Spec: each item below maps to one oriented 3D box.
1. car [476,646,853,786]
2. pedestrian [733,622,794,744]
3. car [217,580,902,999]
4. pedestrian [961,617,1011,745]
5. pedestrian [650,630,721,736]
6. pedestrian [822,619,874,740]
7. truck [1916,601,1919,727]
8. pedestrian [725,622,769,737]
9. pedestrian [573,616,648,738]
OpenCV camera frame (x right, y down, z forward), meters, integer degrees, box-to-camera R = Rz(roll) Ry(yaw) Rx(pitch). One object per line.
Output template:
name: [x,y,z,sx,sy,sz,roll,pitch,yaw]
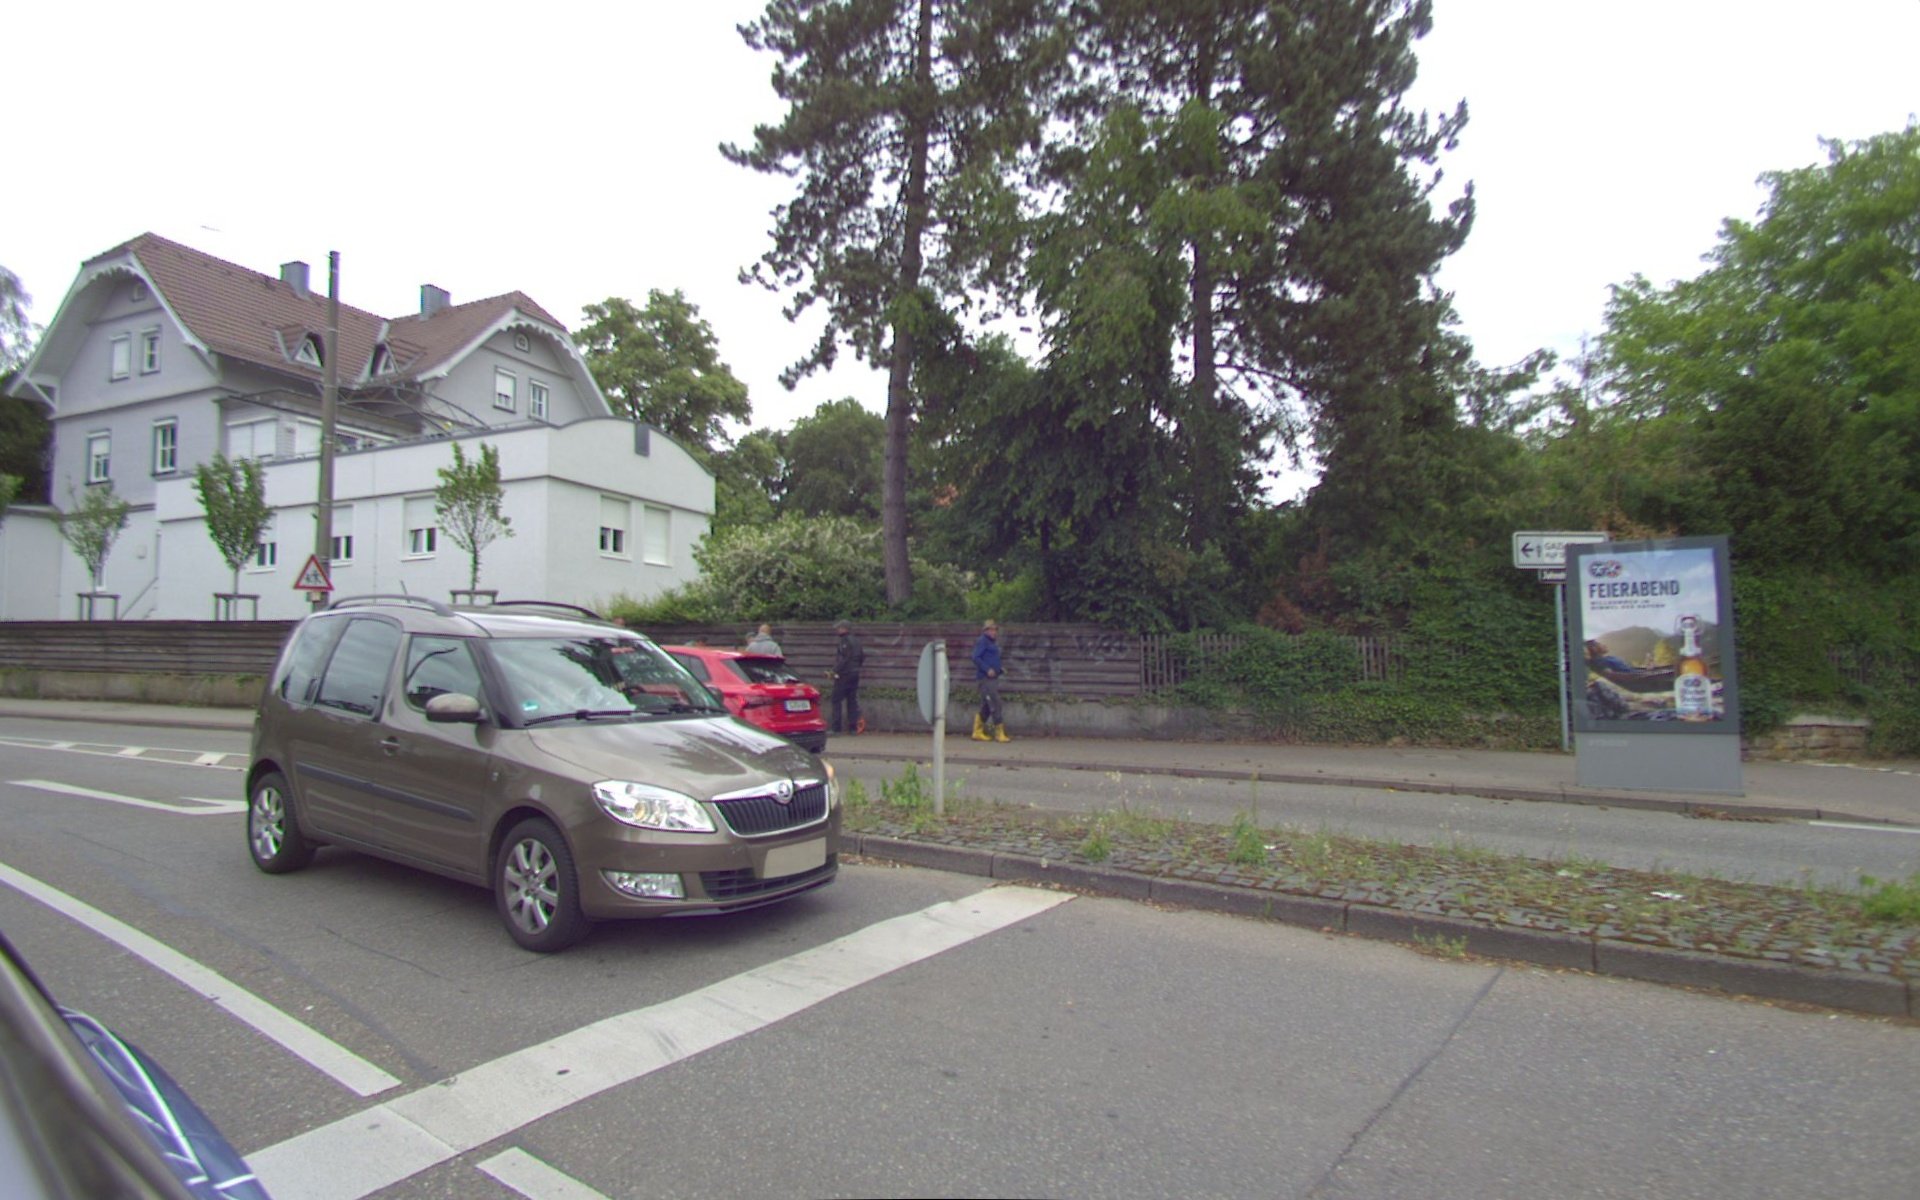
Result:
car: [-3.399,1.246,11.618,3.979,1.367,1.792,-1,-5,26]
pedestrian: [-2.963,1.239,15.309,0.661,1.802,0.609,0,-4,17]
car: [-2.389,0.784,5.662,3.990,1.592,1.599,-2,-2,34]
pedestrian: [0.398,1.198,15.147,0.607,1.849,0.675,0,-4,14]
pedestrian: [-4.459,1.327,16.492,0.745,1.666,0.875,0,-3,17]
pedestrian: [-1.744,1.228,15.842,0.607,1.849,0.601,0,-4,15]
truck: [16.701,1.097,12.863,6.623,2.205,2.529,1,-3,0]
pedestrian: [-3.456,1.287,16.445,0.500,1.827,0.507,0,-4,17]
pedestrian: [-5.422,1.174,15.726,0.682,1.828,0.875,0,-3,17]
